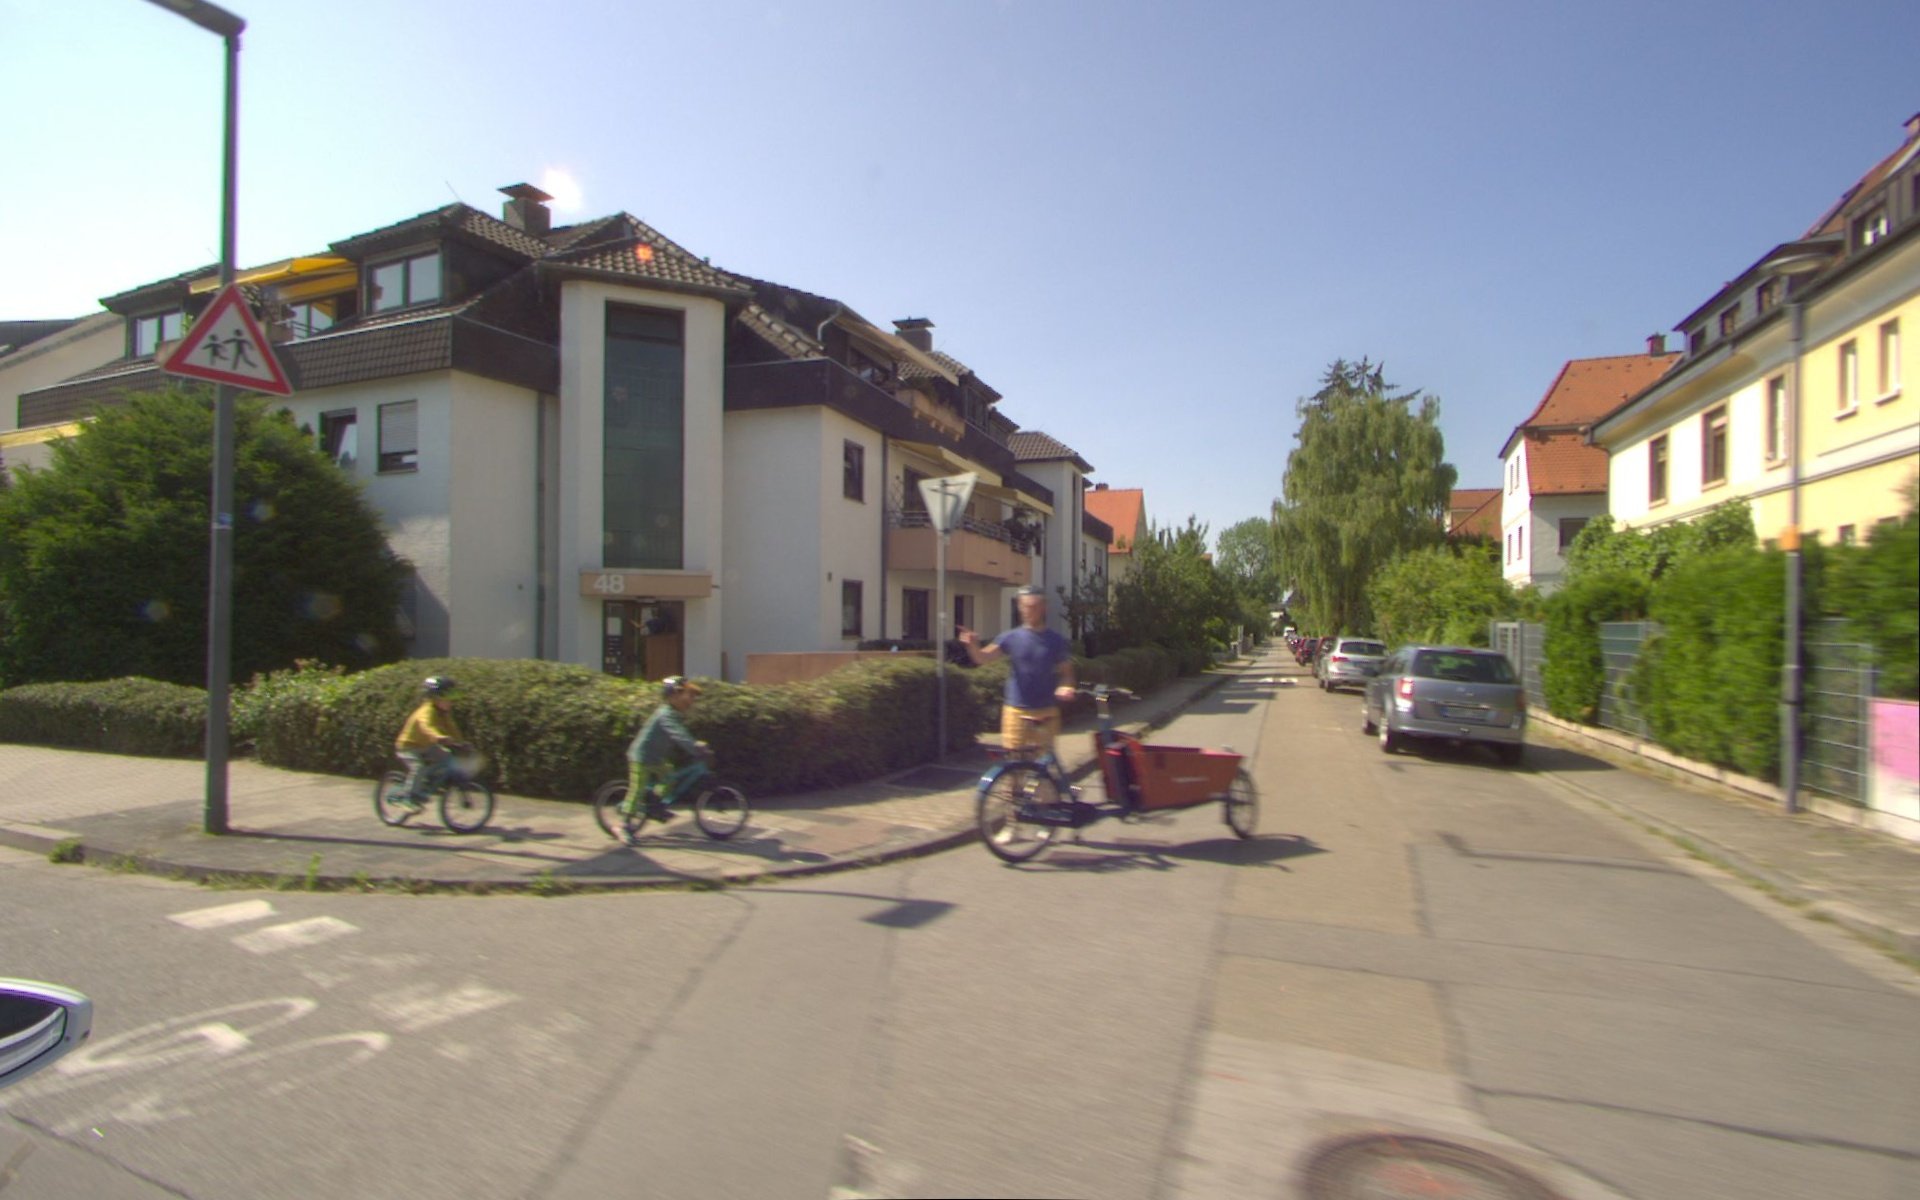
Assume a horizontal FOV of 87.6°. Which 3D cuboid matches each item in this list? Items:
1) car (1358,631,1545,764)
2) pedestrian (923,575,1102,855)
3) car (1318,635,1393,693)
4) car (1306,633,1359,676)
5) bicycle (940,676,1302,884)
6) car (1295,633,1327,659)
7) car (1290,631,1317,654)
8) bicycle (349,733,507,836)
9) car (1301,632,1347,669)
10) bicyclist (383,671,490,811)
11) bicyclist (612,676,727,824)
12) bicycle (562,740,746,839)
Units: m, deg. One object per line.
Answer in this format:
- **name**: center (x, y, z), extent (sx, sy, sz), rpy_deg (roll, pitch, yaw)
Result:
- **car**: center (6.778, 1.240, 14.231), extent (1.778, 1.588, 3.995), rpy_deg (0, -1, 17)
- **pedestrian**: center (0.349, 0.793, 7.312), extent (1.166, 1.897, 0.901), rpy_deg (0, 0, -7)
- **car**: center (11.727, 1.845, 29.867), extent (1.778, 1.588, 3.995), rpy_deg (0, -1, 17)
- **car**: center (14.896, 2.137, 40.172), extent (1.778, 1.588, 3.995), rpy_deg (0, -1, 17)
- **bicycle**: center (1.221, 1.181, 7.200), extent (2.674, 1.173, 0.859), rpy_deg (1, -1, -32)
- **car**: center (22.028, 2.861, 62.935), extent (1.778, 1.588, 3.995), rpy_deg (0, -1, 17)
- **car**: center (25.562, 3.148, 74.655), extent (1.778, 1.588, 3.995), rpy_deg (0, -1, 17)
- **bicycle**: center (-3.880, 1.325, 7.298), extent (1.132, 0.607, 0.401), rpy_deg (0, 0, 24)
- **car**: center (16.547, 2.252, 45.634), extent (1.778, 1.588, 3.995), rpy_deg (0, -1, 17)
- **bicyclist**: center (-3.795, 1.000, 7.261), extent (0.598, 0.945, 0.399), rpy_deg (0, -1, 24)
- **bicyclist**: center (-2.005, 1.013, 6.923), extent (0.646, 0.941, 0.401), rpy_deg (0, 0, 21)
- **bicycle**: center (-2.108, 1.305, 6.949), extent (1.150, 0.607, 0.402), rpy_deg (0, 0, -1)
